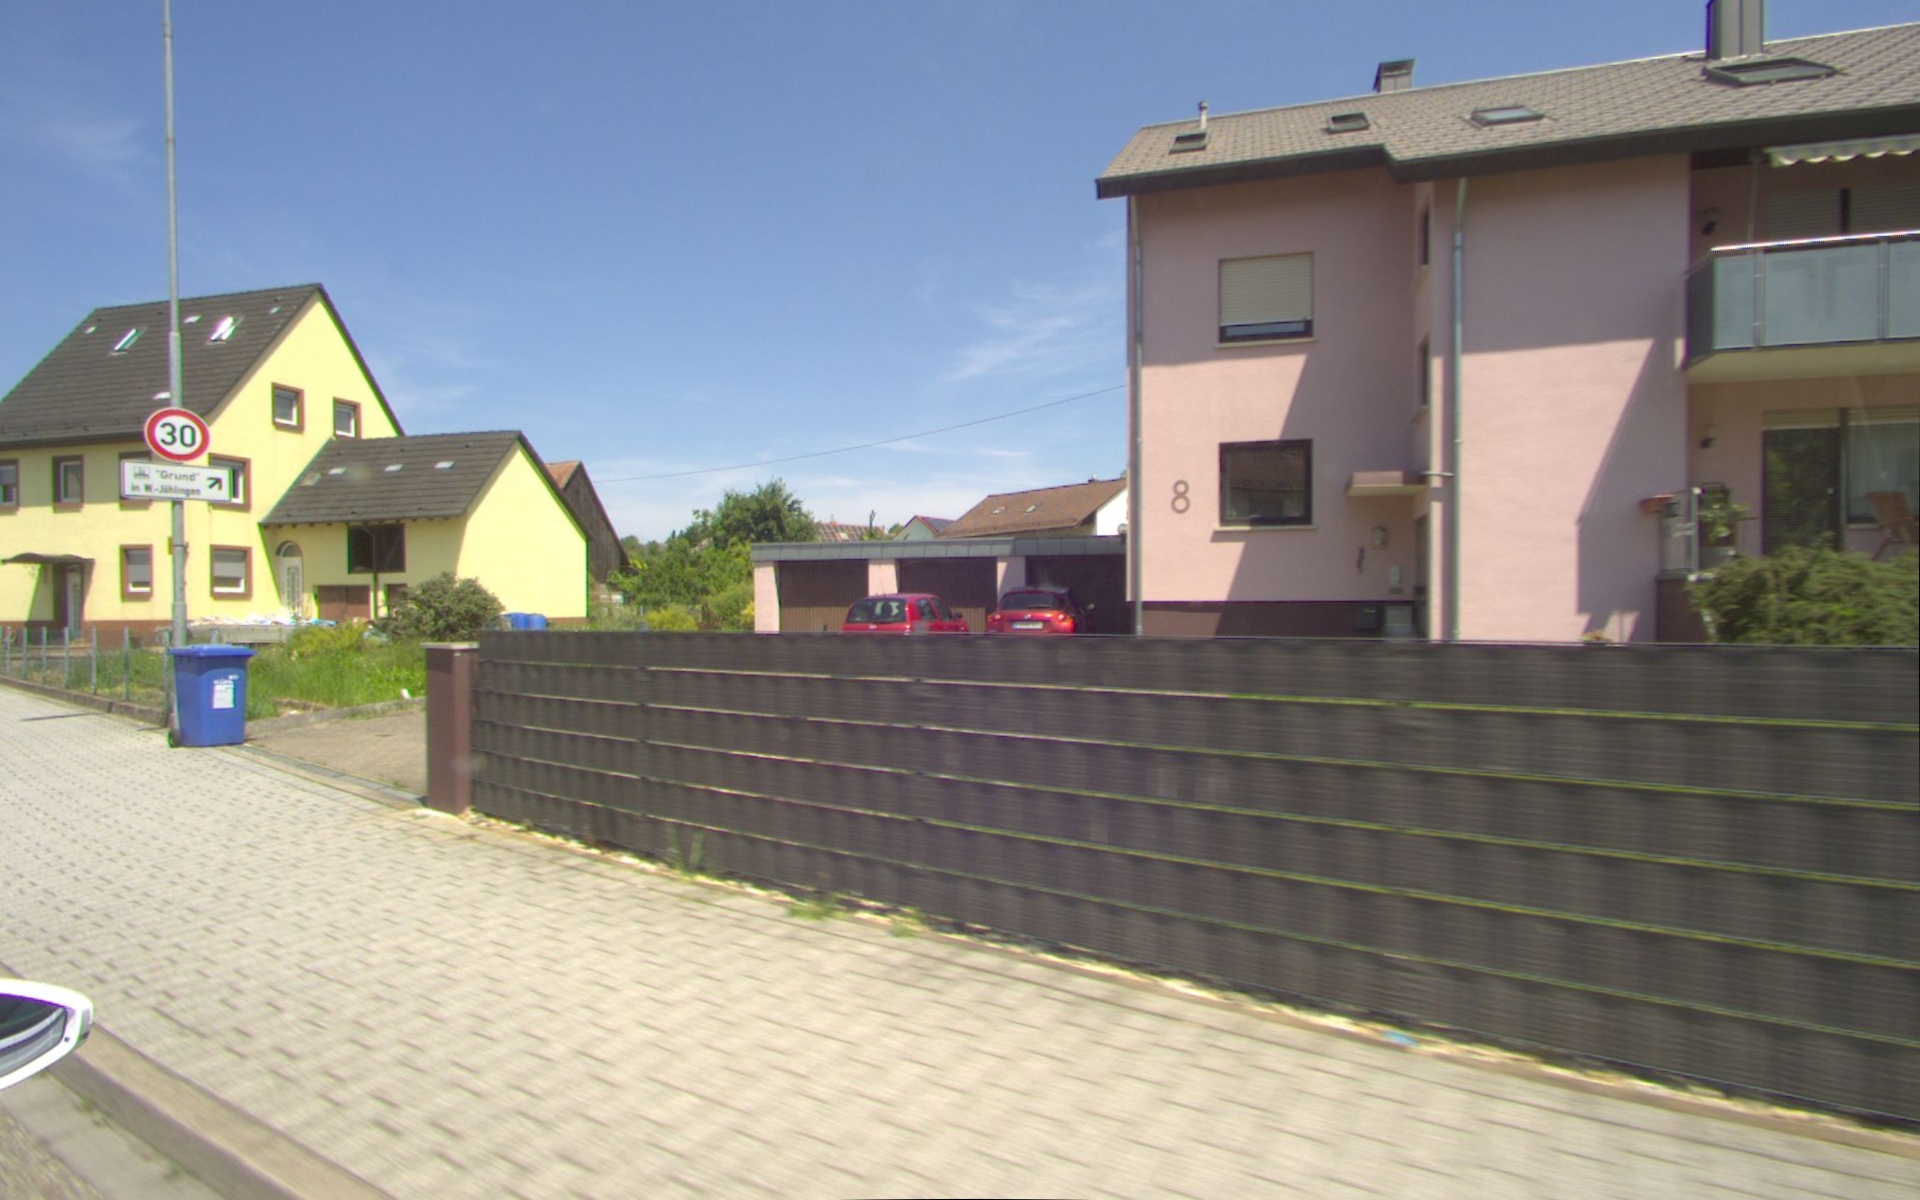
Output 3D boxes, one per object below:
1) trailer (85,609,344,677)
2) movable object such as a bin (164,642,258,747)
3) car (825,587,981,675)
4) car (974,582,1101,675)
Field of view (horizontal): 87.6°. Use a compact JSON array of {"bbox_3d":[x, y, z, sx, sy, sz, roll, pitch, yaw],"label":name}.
[{"bbox_3d":[-19.073,1.084,26.043,2.098,1.566,5.362,0,-2,12],"label":"trailer"},{"bbox_3d":[-8.037,0.991,10.749,0.640,1.071,0.565,-1,0,25],"label":"movable object such as a bin"},{"bbox_3d":[-0.972,0.525,19.165,1.730,1.506,3.830,0,1,17],"label":"car"},{"bbox_3d":[1.595,0.534,19.156,1.816,1.568,4.123,0,-1,13],"label":"car"}]
